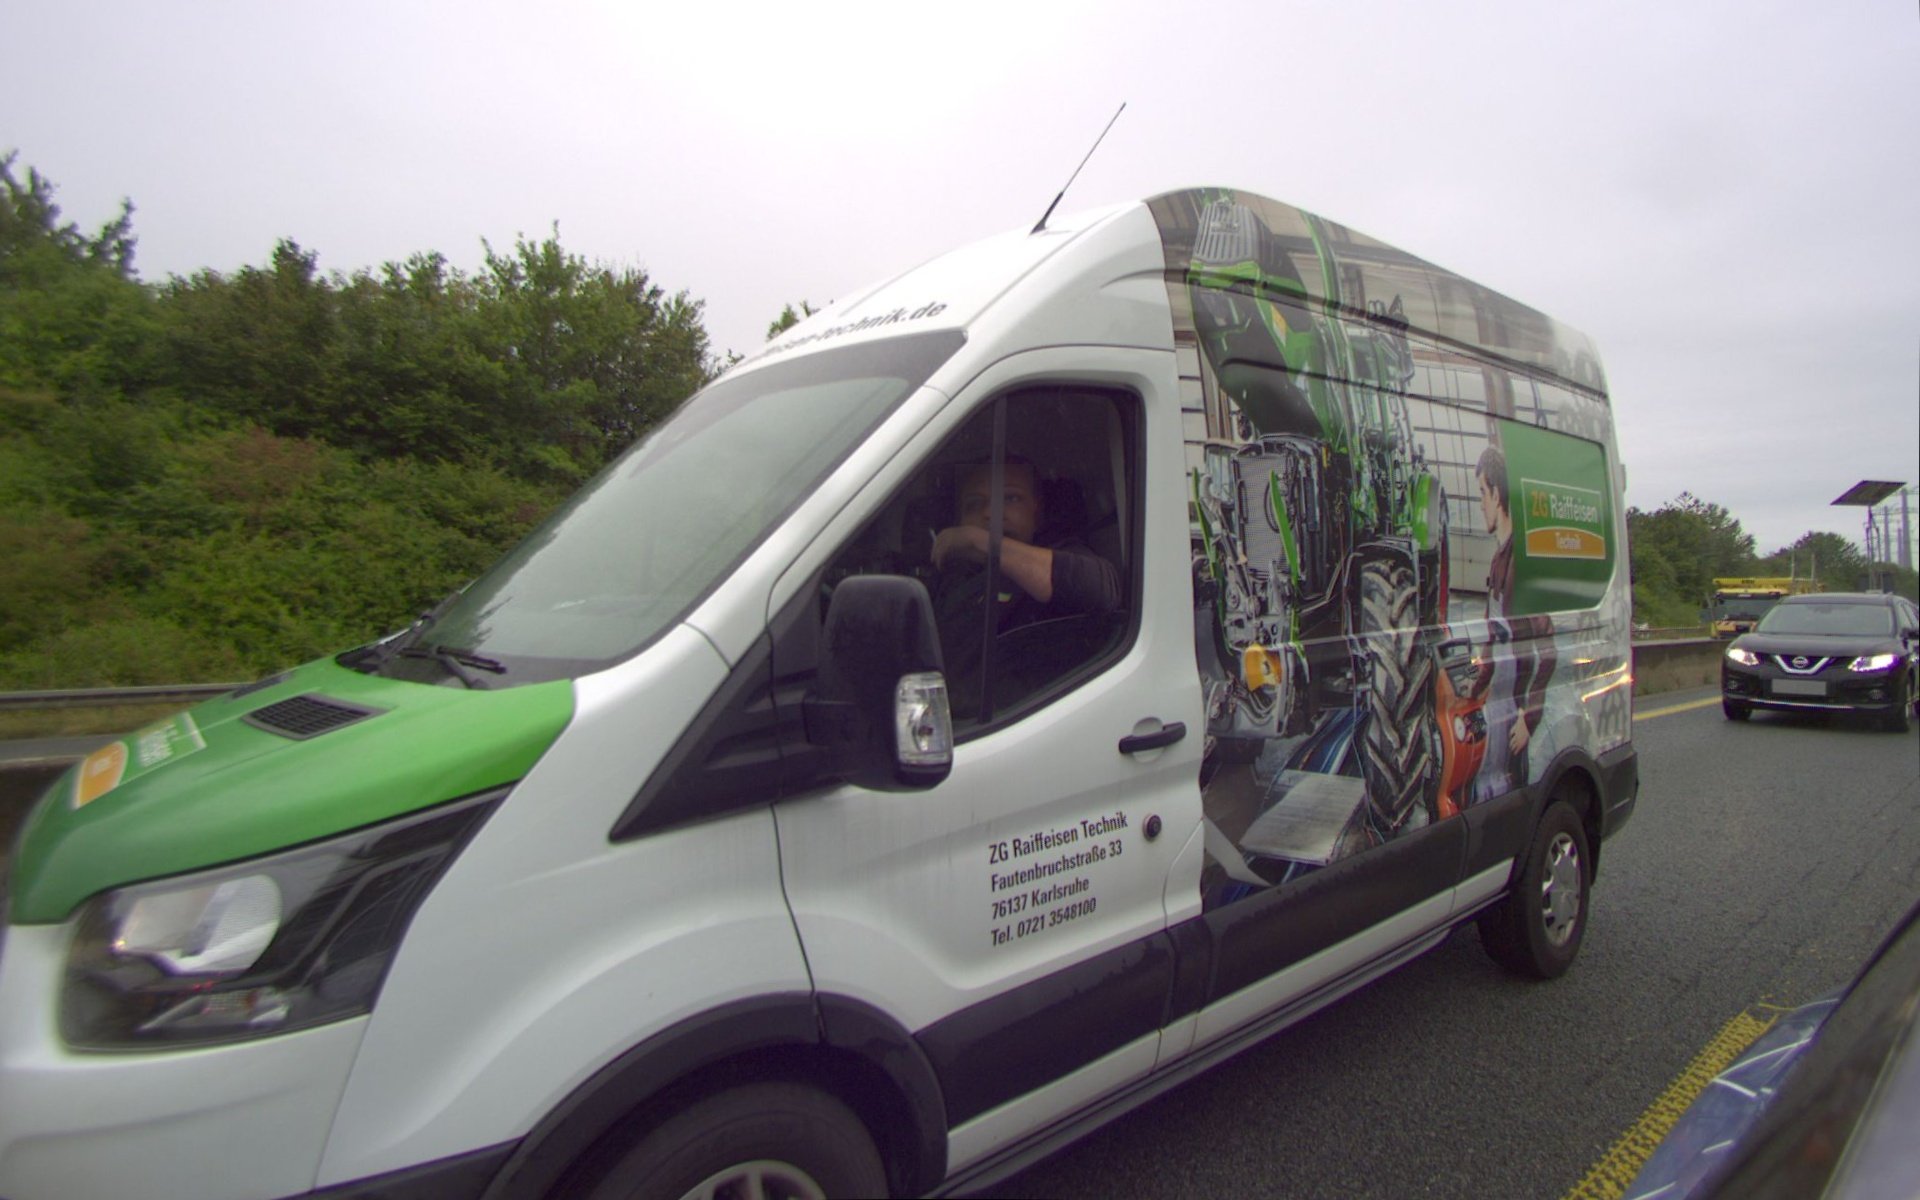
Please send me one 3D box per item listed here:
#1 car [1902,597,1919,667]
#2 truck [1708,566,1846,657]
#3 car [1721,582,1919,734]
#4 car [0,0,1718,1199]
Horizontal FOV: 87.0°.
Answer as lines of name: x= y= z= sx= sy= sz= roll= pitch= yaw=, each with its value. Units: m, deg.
car: x=22.844 y=0.694 z=22.957 sx=4.052 sy=1.509 sz=1.782 roll=0 pitch=0 yaw=-41
truck: x=34.361 y=0.411 z=42.417 sx=9.403 sy=3.467 sz=2.618 roll=0 pitch=0 yaw=-39
car: x=11.897 y=0.629 z=13.528 sx=4.560 sy=1.696 sz=1.893 roll=0 pitch=0 yaw=-41
car: x=0.460 y=0.010 z=3.559 sx=6.007 sy=2.709 sz=2.149 roll=0 pitch=0 yaw=-39
